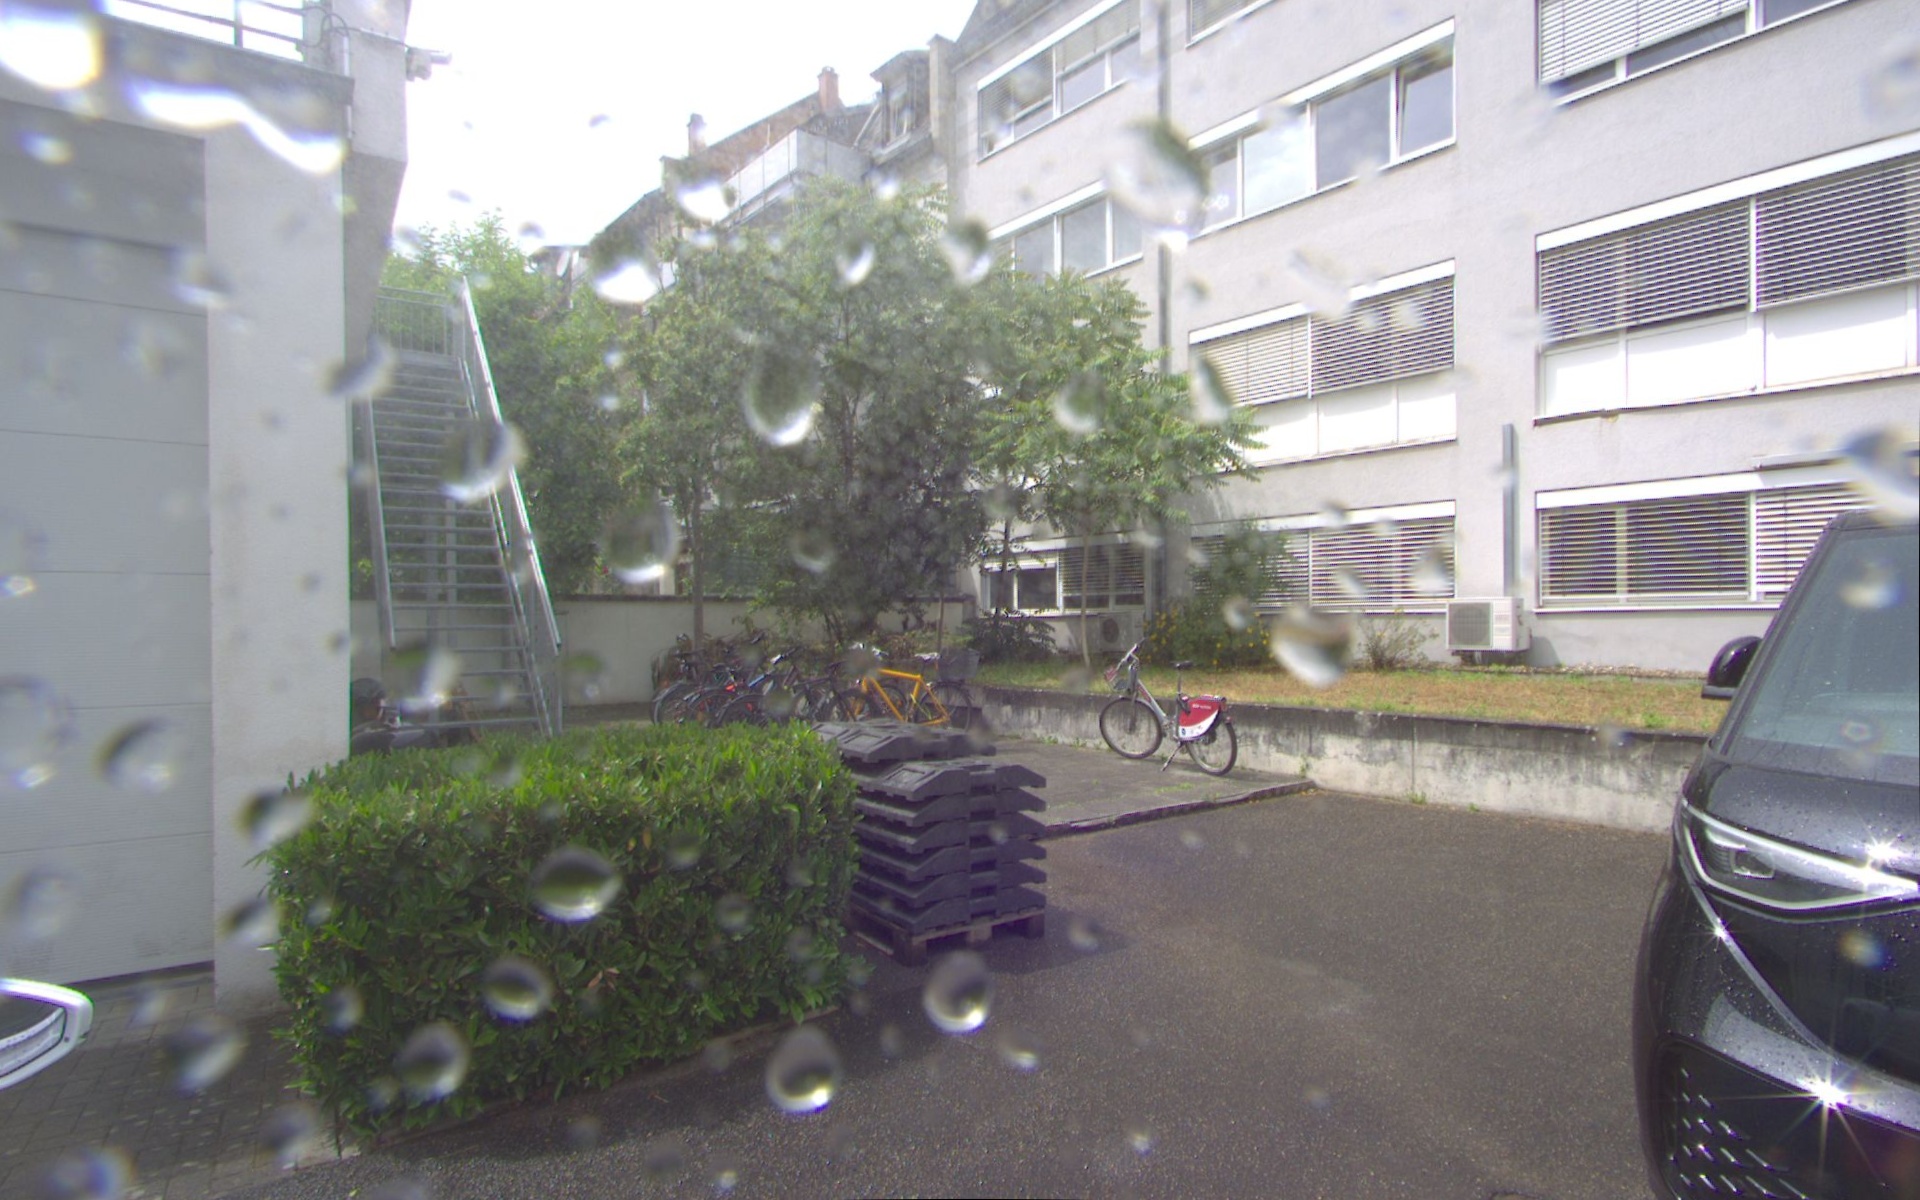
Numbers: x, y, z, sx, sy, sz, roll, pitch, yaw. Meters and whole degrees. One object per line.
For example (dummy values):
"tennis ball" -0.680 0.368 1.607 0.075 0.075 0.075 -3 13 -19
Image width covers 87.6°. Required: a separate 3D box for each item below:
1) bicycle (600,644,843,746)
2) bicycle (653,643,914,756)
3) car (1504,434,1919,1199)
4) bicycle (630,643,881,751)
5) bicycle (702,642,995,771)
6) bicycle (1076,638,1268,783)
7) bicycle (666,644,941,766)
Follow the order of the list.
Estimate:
"bicycle" -2.805 1.090 12.073 2.819 1.092 0.684 2 0 -37
"bicycle" -1.870 1.029 11.010 2.819 1.092 0.684 2 0 -37
"car" 3.619 0.606 2.902 4.672 1.858 2.092 -2 1 -41
"bicycle" -2.289 1.063 11.583 2.819 1.092 0.684 2 0 -37
"bicycle" -1.006 0.968 9.792 2.898 1.092 0.684 2 0 -37
"bicycle" 1.905 0.958 9.217 0.609 1.174 1.708 -1 0 -40
"bicycle" -1.537 1.020 10.361 2.819 1.092 0.684 2 0 -37
